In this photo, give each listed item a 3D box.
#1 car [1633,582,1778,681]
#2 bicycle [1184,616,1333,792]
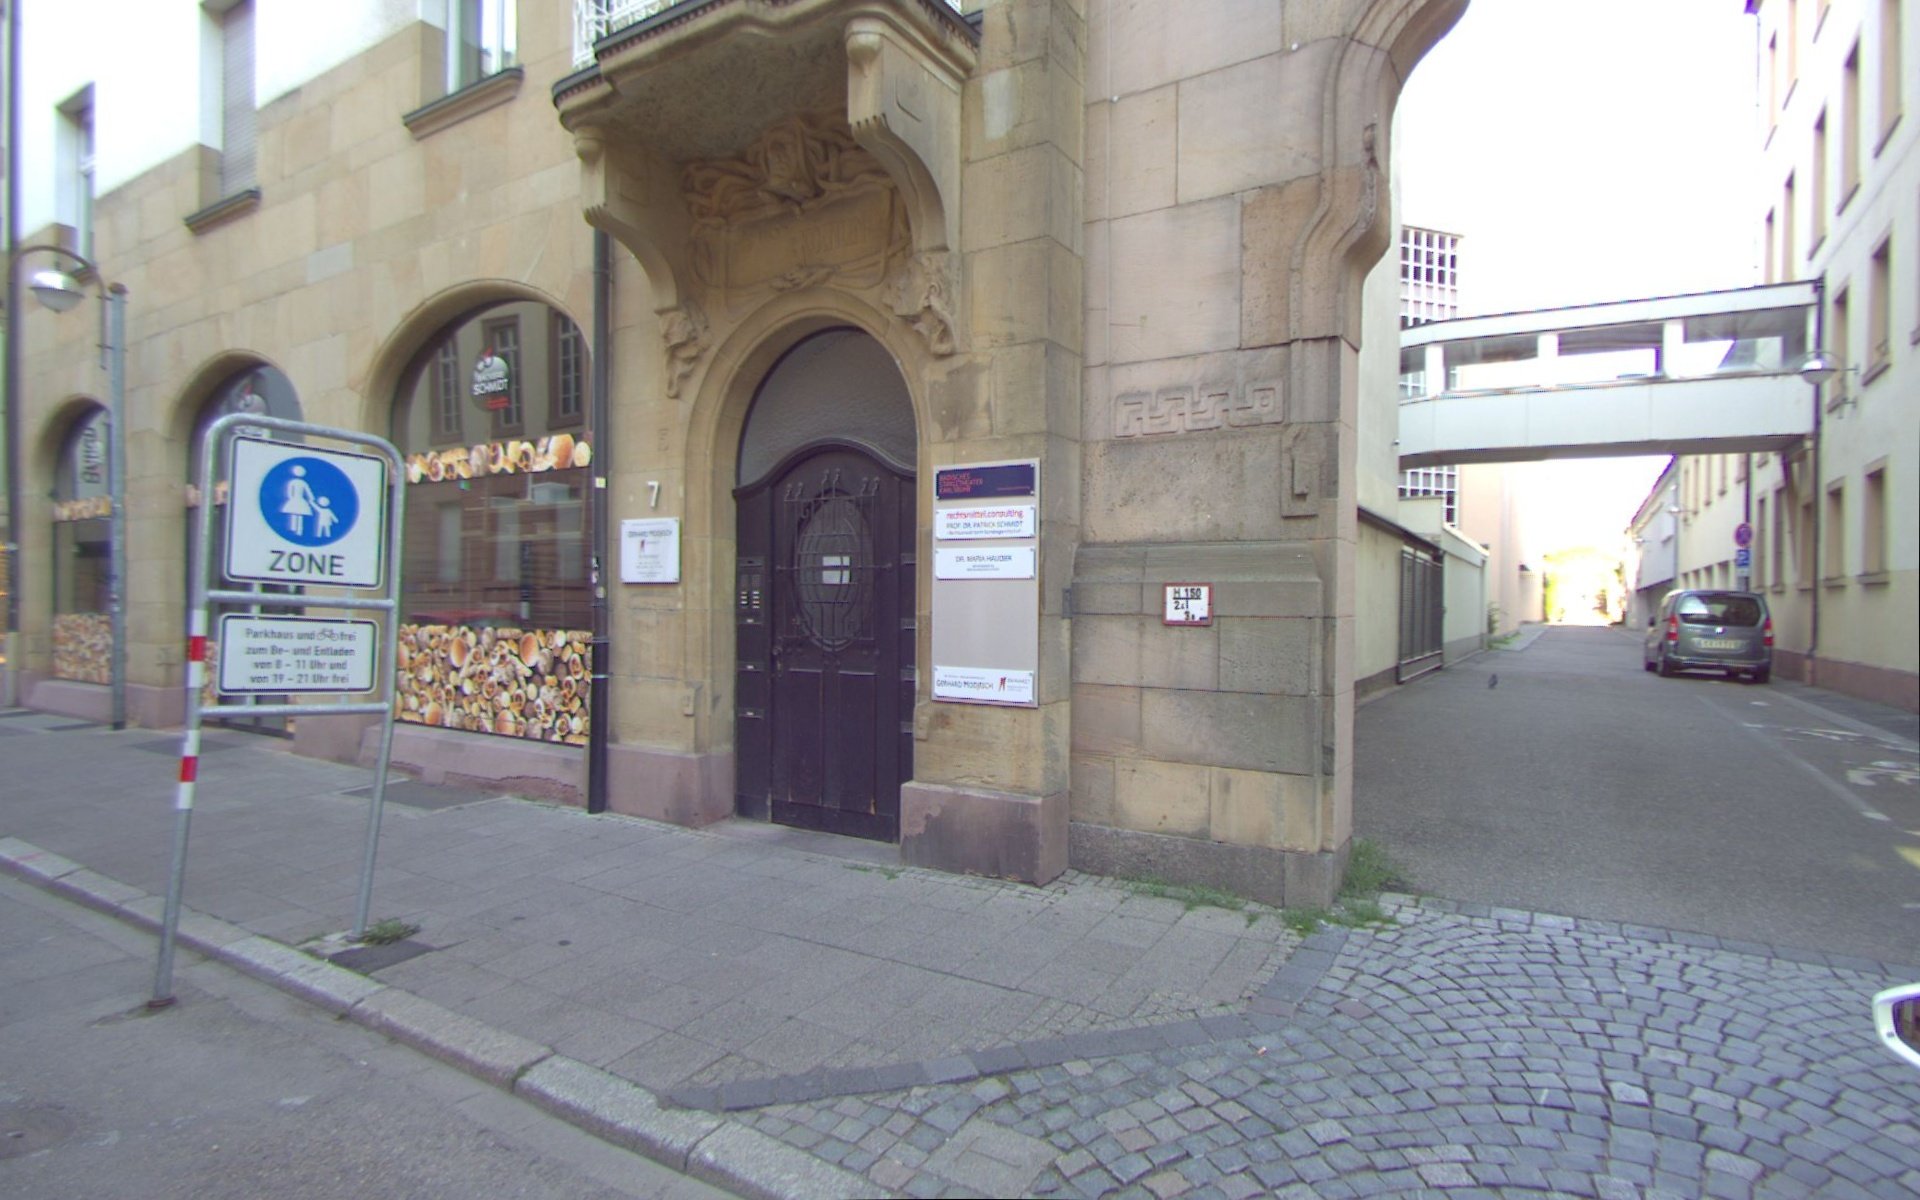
[{"bbox_3d":[15.676,0.643,21.340,1.827,1.779,4.156,4,1,29],"label":"car"},{"bbox_3d":[2.183,0.667,7.192,0.586,1.094,1.752,1,0,31],"label":"bicycle"}]
